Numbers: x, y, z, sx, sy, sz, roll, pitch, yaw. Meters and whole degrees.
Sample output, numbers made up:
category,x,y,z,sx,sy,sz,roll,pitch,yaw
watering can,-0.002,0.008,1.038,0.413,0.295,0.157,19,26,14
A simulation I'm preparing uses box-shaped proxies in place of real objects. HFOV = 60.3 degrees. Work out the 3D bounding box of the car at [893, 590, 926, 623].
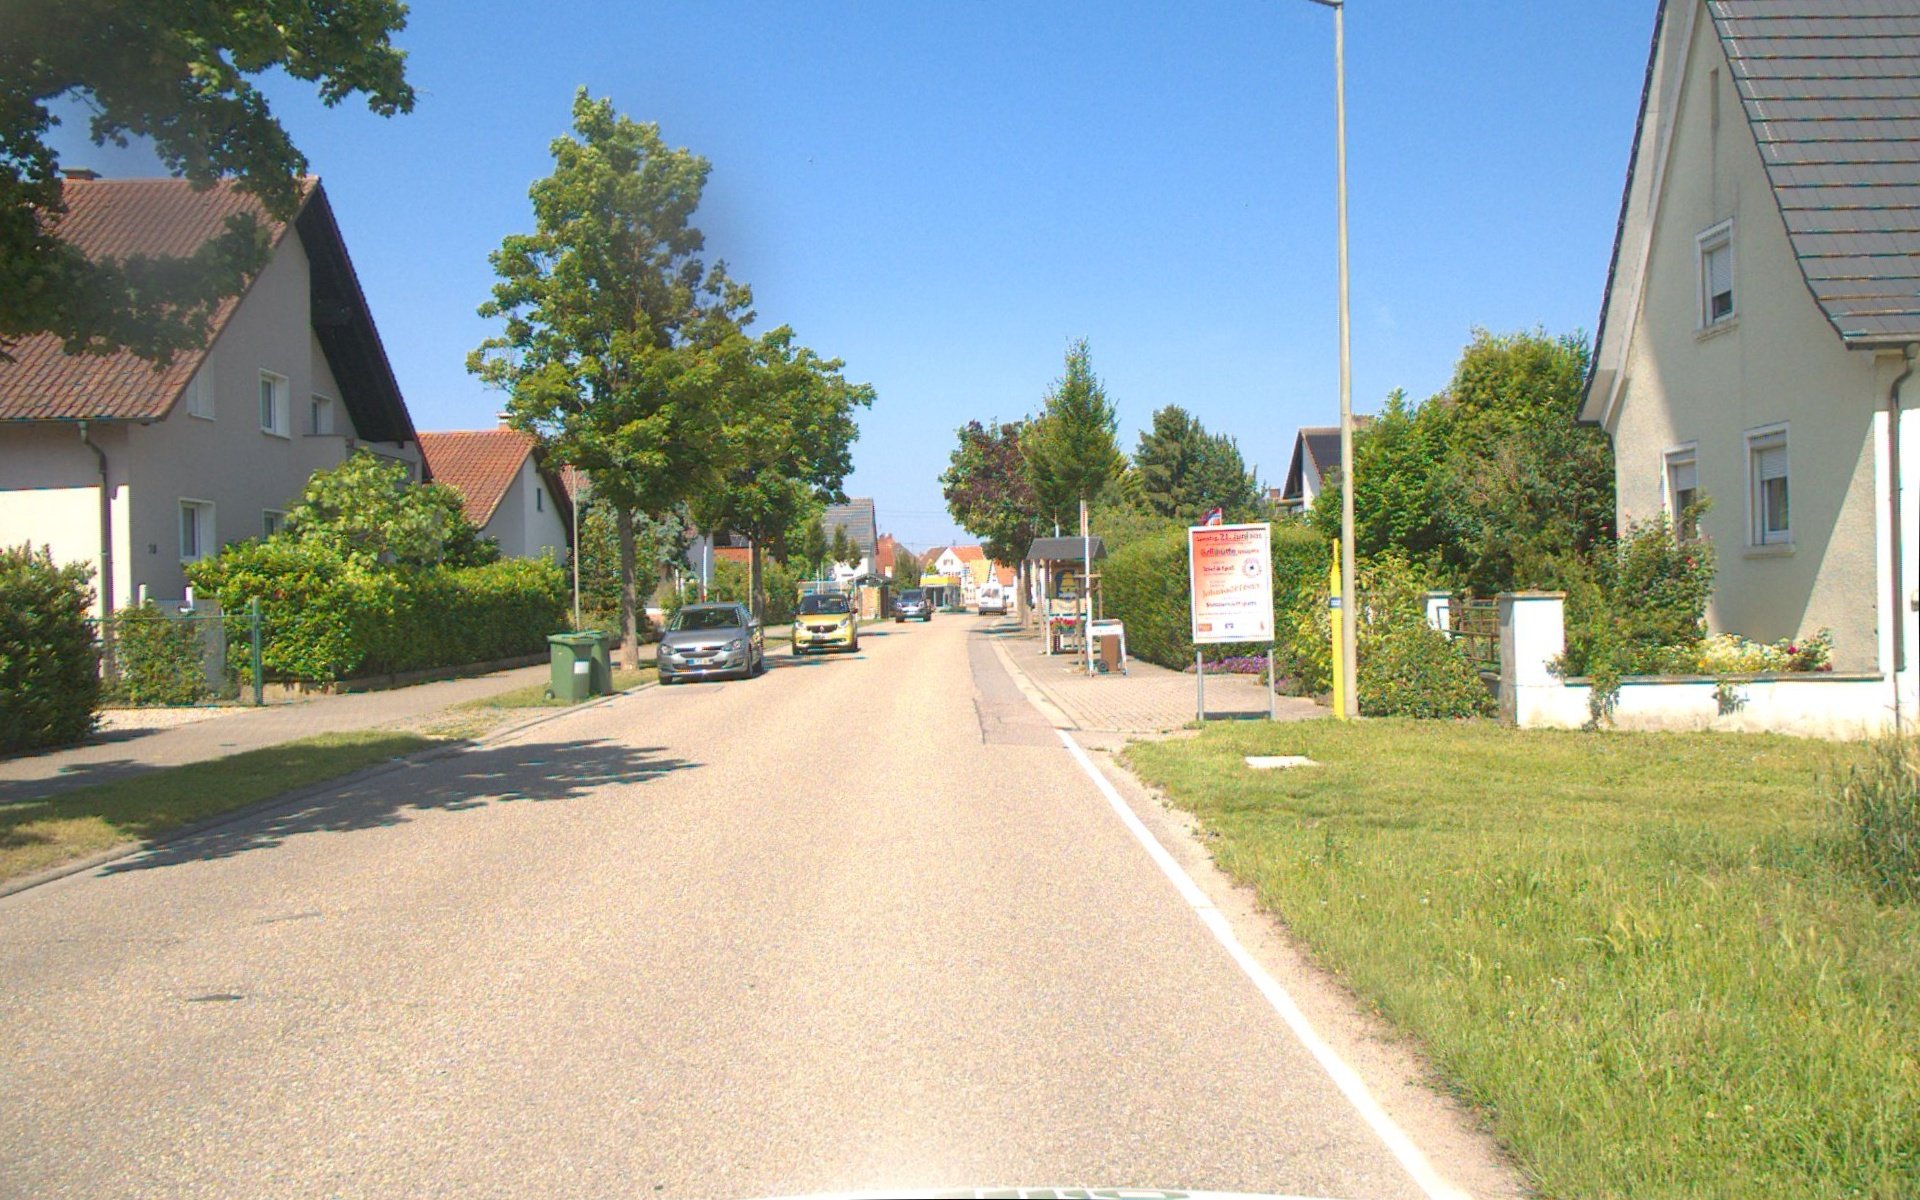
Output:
category,x,y,z,sx,sy,sz,roll,pitch,yaw
car,-2.871,0.357,93.471,1.799,1.783,3.794,-2,0,-3

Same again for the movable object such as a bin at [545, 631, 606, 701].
category,x,y,z,sx,sy,sz,roll,pitch,yaw
movable object such as a bin,-6.221,1.058,26.779,0.699,1.097,0.639,-2,0,24

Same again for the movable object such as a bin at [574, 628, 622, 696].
category,x,y,z,sx,sy,sz,roll,pitch,yaw
movable object such as a bin,-6.022,1.026,27.529,0.562,1.097,0.599,-2,0,12

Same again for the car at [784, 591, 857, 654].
category,x,y,z,sx,sy,sz,roll,pitch,yaw
car,-3.723,0.573,44.579,1.632,1.550,3.442,-2,0,-1

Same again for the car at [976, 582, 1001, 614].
category,x,y,z,sx,sy,sz,roll,pitch,yaw
car,2.349,-0.140,133.408,1.701,2.474,4.377,-2,0,4

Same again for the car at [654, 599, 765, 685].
category,x,y,z,sx,sy,sz,roll,pitch,yaw
car,-4.808,0.764,32.207,1.614,1.448,4.078,-4,0,-3
